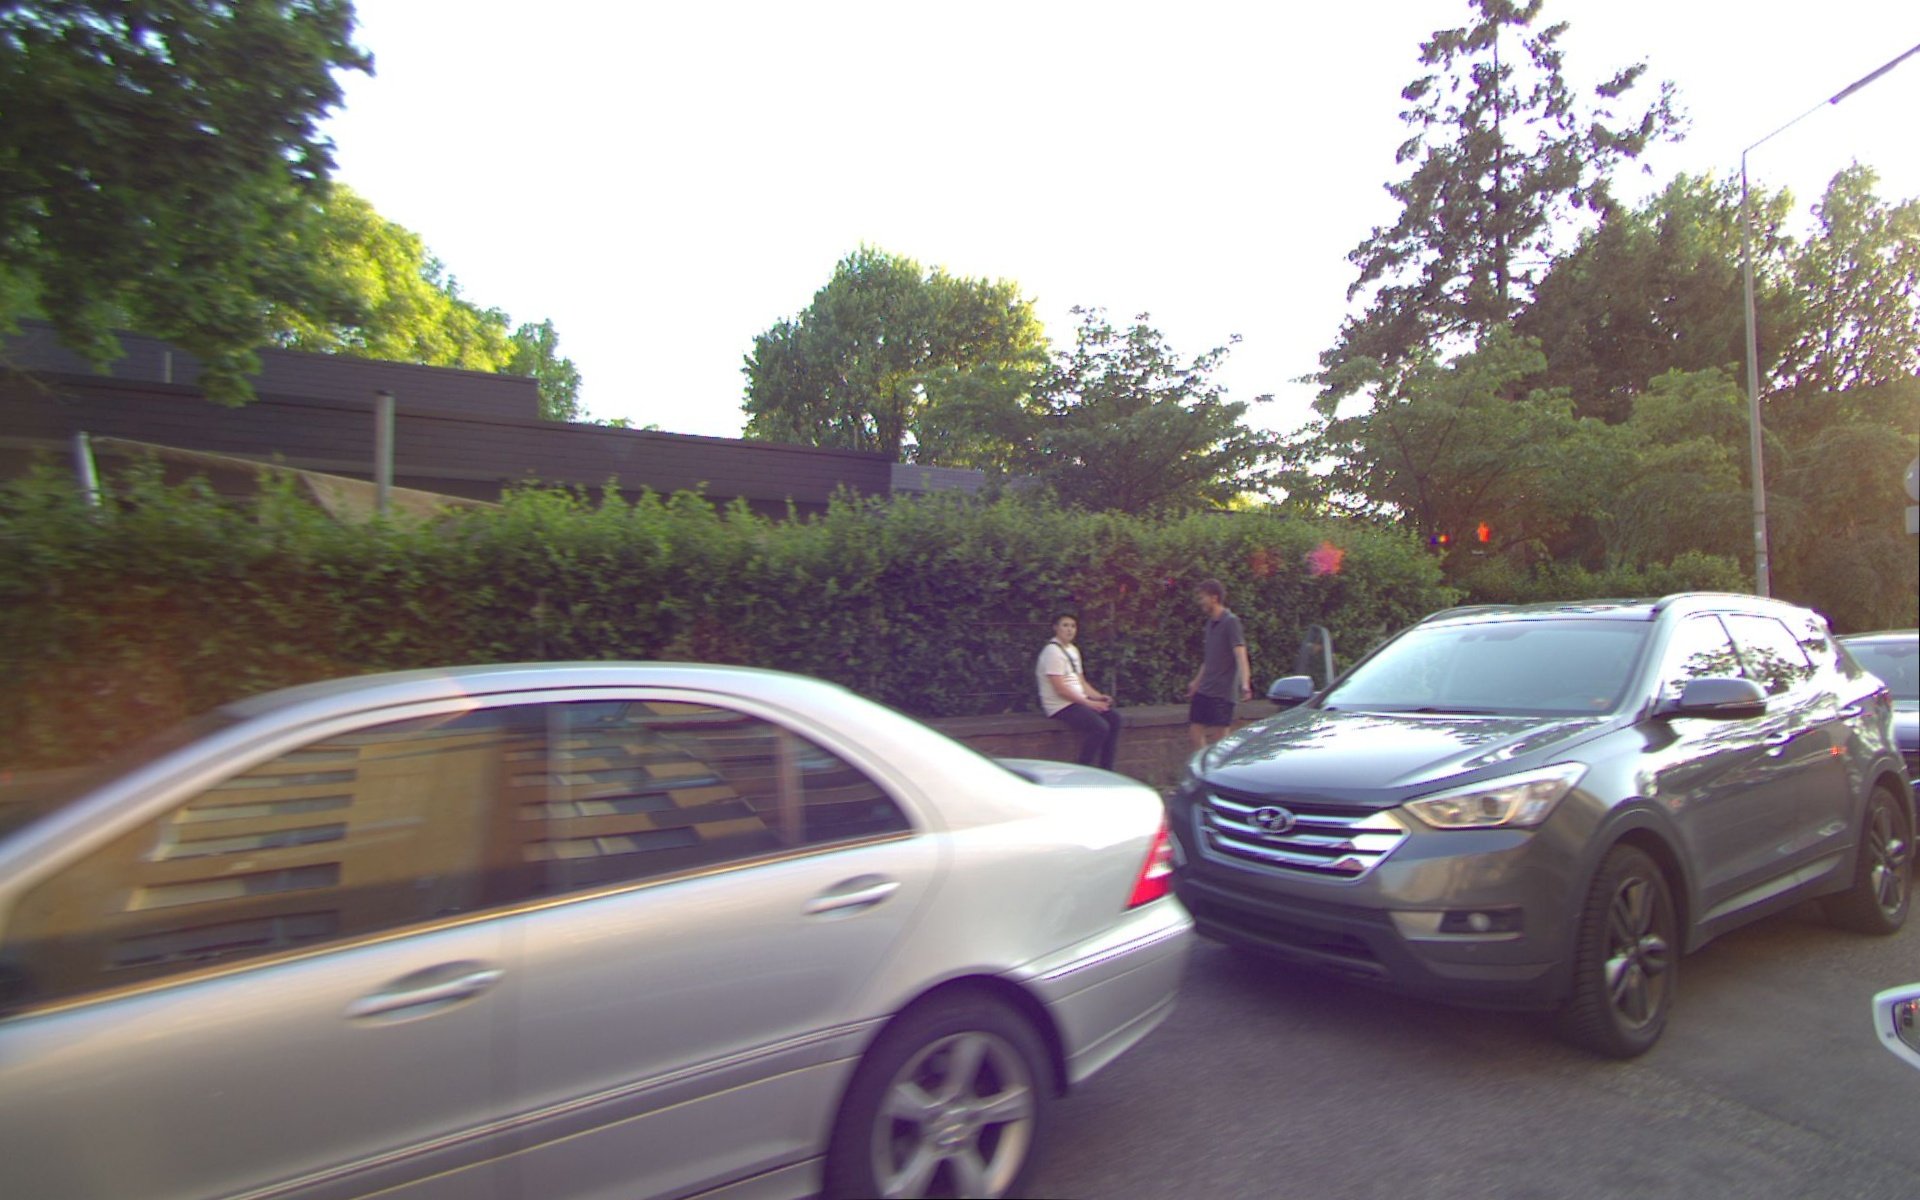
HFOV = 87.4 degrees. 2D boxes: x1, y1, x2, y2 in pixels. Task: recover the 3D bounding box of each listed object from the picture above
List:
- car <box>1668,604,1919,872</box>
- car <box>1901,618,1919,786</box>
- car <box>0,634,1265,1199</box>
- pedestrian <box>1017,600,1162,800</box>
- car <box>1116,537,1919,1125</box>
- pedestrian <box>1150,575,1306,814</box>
[{"bbox_3d":[7.169,0.855,7.436,4.123,1.588,1.724,1,-3,-33],"label":"car"},{"bbox_3d":[11.183,0.950,9.980,4.085,1.588,1.724,1,-3,-33],"label":"car"},{"bbox_3d":[-1.345,0.844,2.533,4.241,1.445,1.724,1,-3,-33],"label":"car"},{"bbox_3d":[1.068,0.783,8.331,0.892,1.528,0.744,0,2,-32],"label":"pedestrian"},{"bbox_3d":[2.957,0.746,4.925,4.276,1.753,1.724,1,-3,-33],"label":"car"},{"bbox_3d":[2.112,0.694,7.975,0.741,1.756,0.895,1,2,-29],"label":"pedestrian"}]
